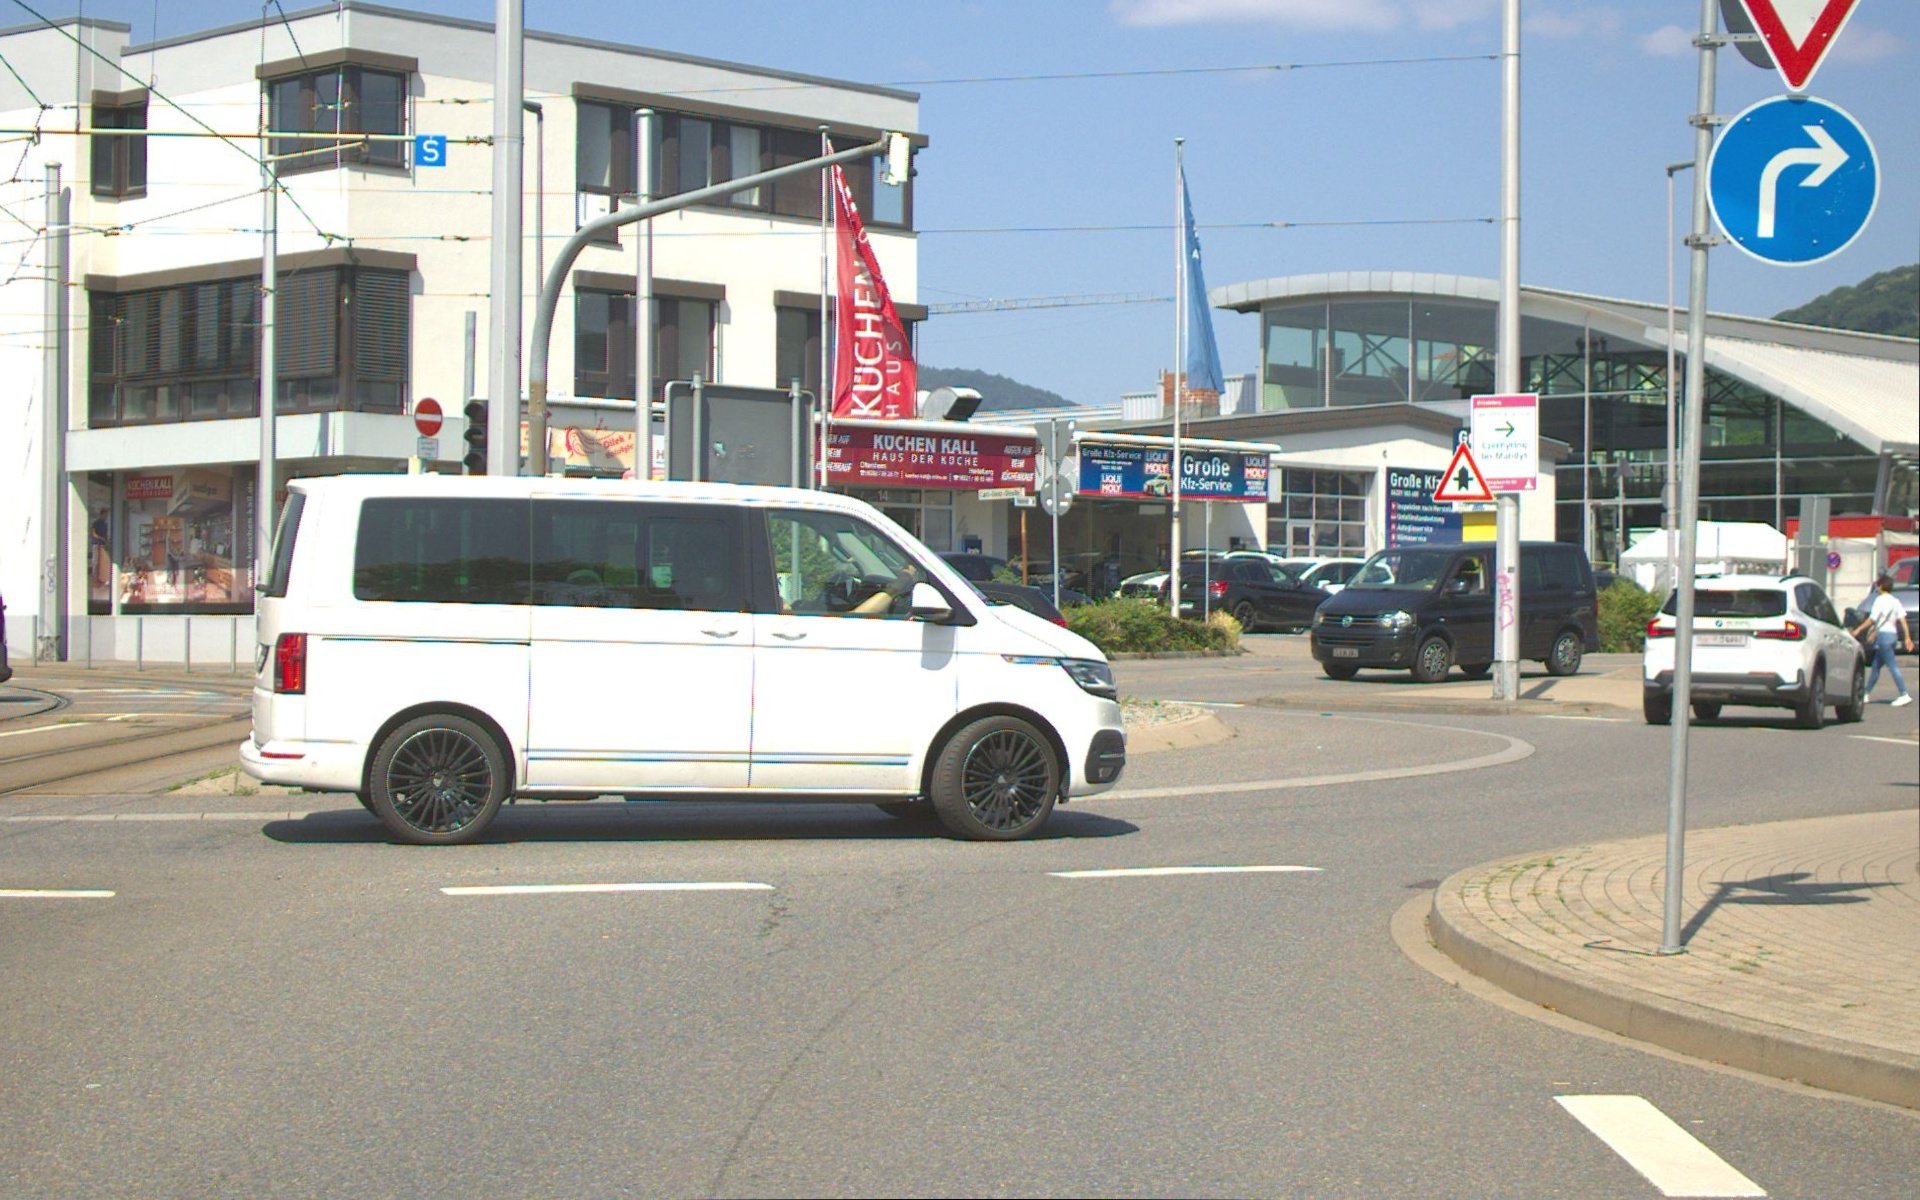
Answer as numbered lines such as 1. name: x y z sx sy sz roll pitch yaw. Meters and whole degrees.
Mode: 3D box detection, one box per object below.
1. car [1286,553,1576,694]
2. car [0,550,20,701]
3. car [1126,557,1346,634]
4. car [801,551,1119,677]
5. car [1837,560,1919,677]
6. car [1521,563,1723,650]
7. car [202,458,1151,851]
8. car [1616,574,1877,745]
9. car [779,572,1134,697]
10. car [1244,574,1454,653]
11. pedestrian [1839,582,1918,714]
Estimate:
1. car: 6.840 0.287 49.540 2.096 1.904 4.629 1 1 38
2. car: -13.744 0.279 41.659 4.393 1.812 1.990 1 0 -19
3. car: 5.355 -0.092 66.311 2.031 1.422 4.306 1 0 42
4. car: 0.048 0.216 55.917 5.266 1.959 1.965 0 0 -44
5. car: 17.328 0.321 59.150 4.815 1.929 1.932 0 0 -42
6. car: 12.659 0.099 65.619 1.998 1.612 3.990 0 1 42
7. car: -1.653 0.296 19.183 5.000 2.007 2.170 1 0 -13
8. car: 8.617 0.594 37.380 1.996 1.727 4.558 0 0 23
9. car: -0.053 0.452 45.281 4.227 1.551 1.970 1 0 -22
10. car: 8.251 0.296 72.620 1.885 1.583 4.916 -2 -1 42
11. pedestrian: 11.539 0.593 43.205 0.880 1.631 0.952 1 0 11
